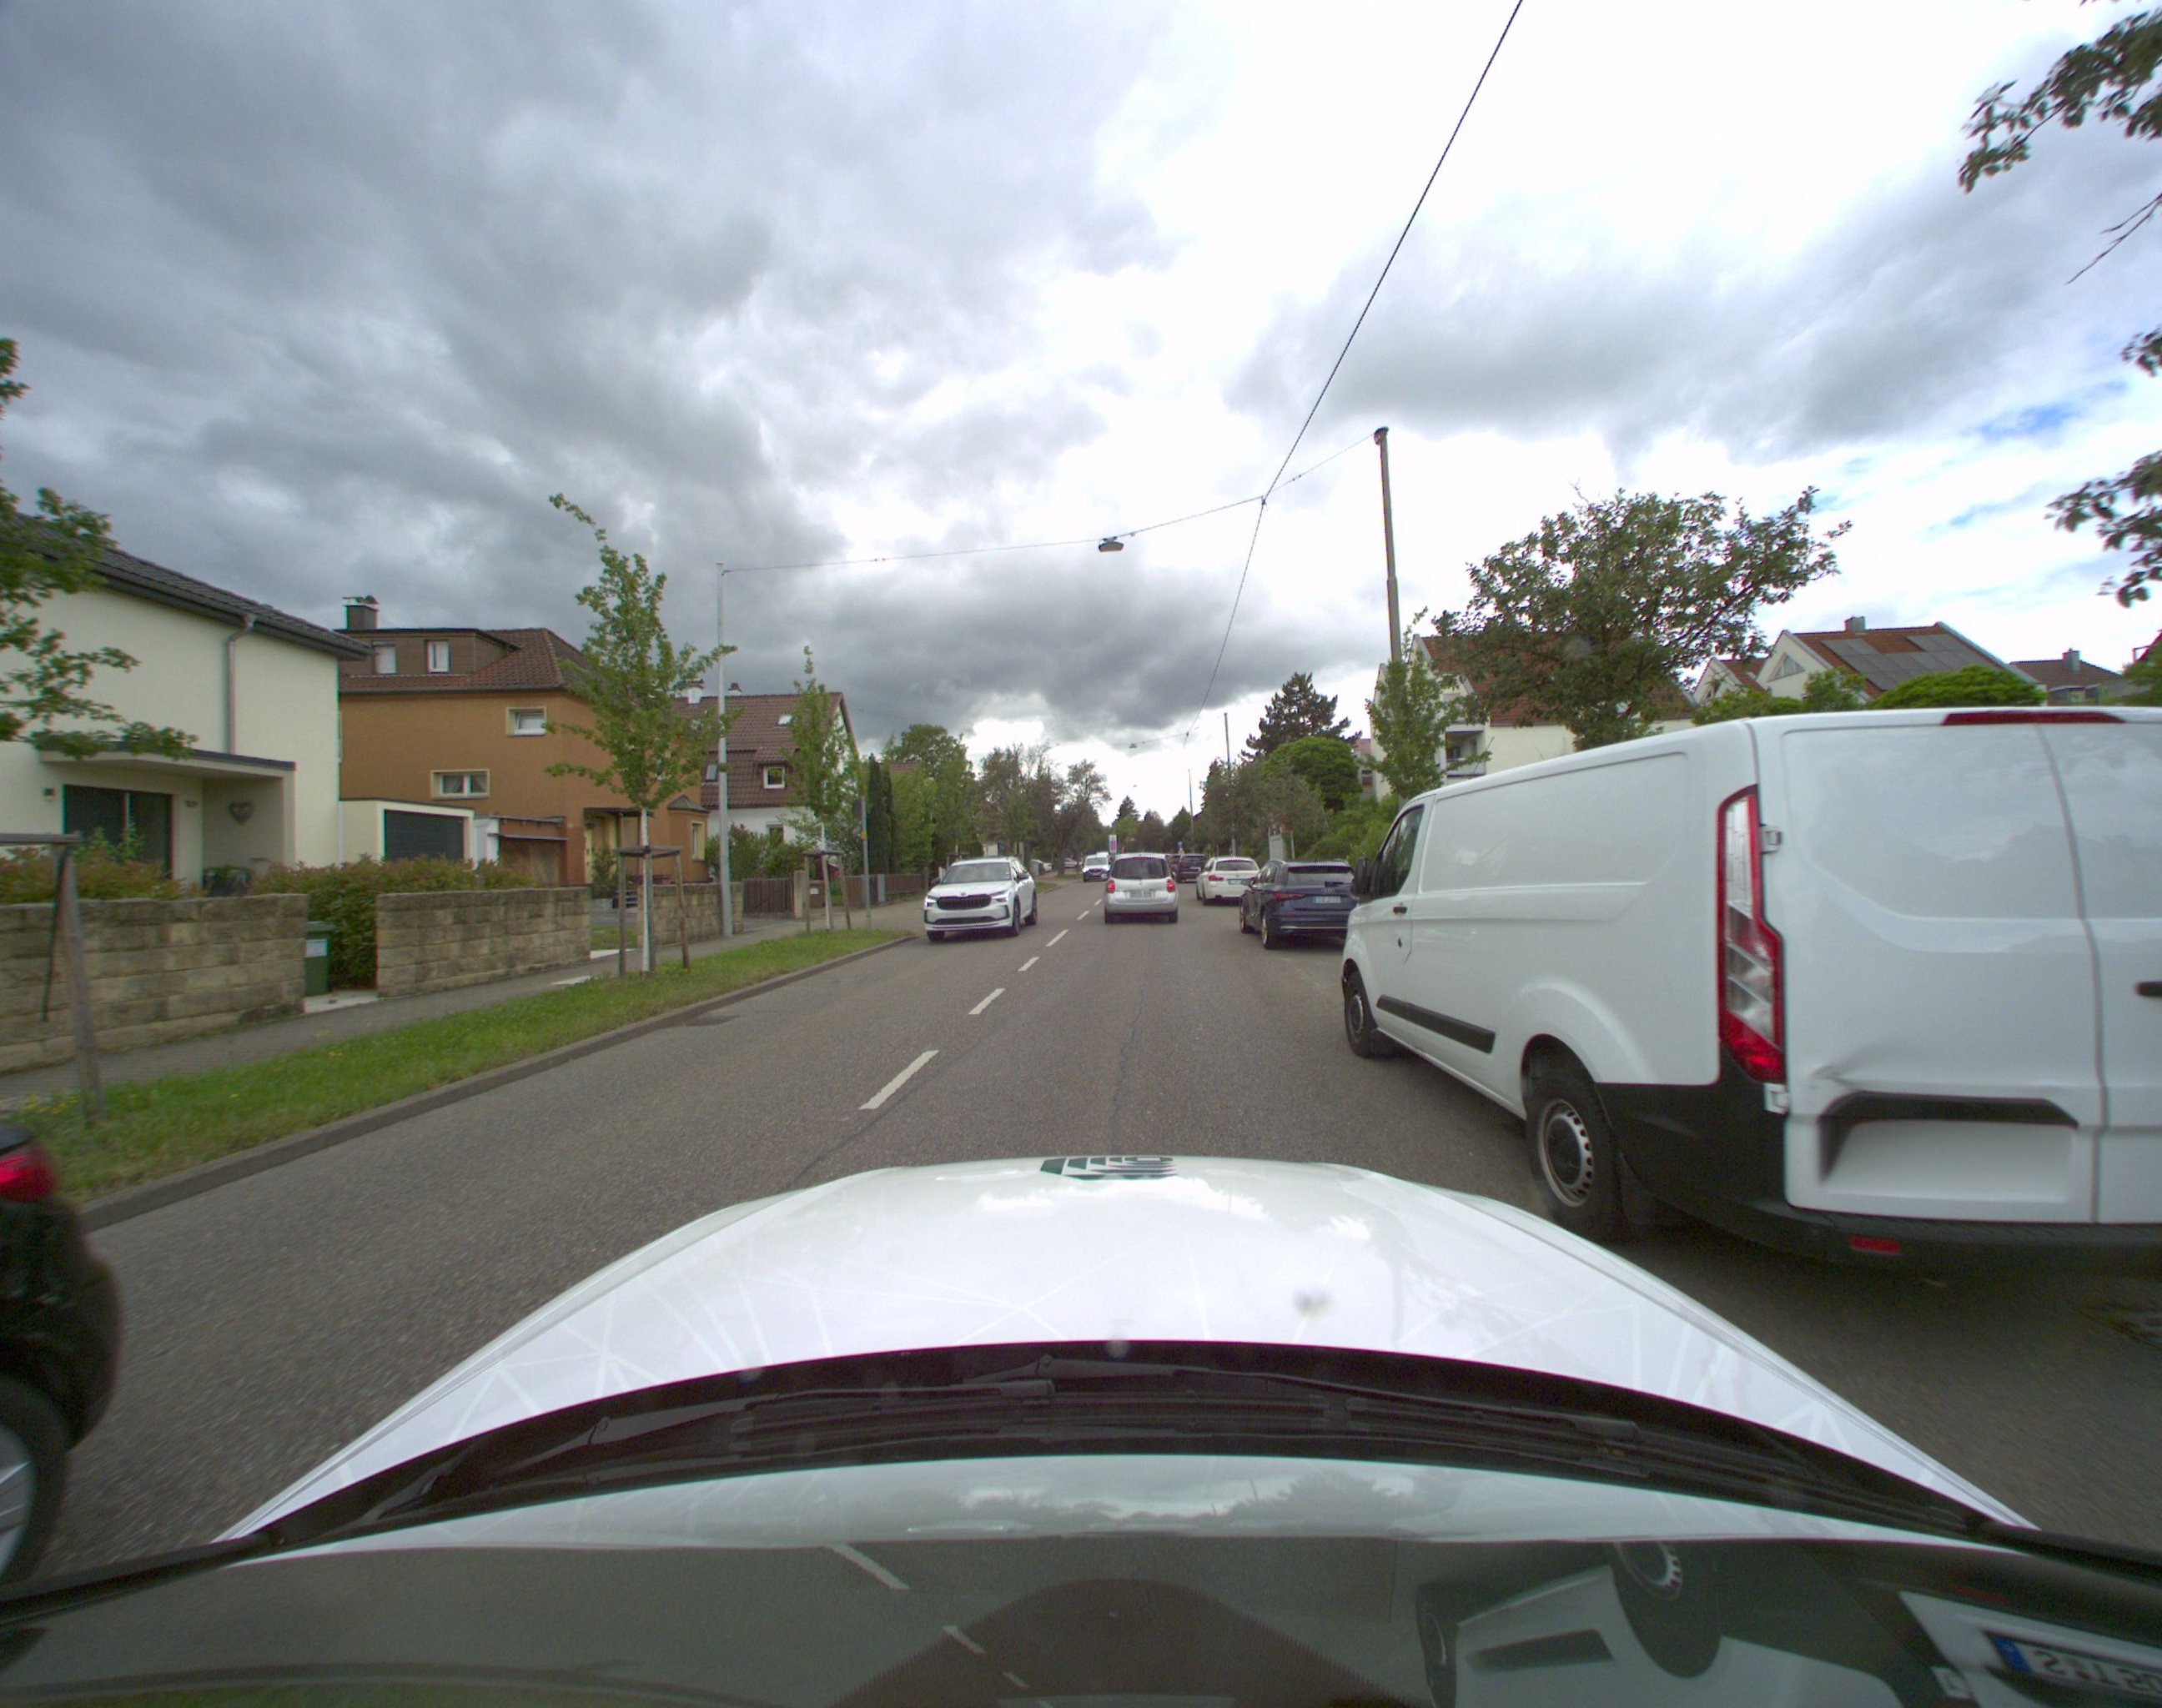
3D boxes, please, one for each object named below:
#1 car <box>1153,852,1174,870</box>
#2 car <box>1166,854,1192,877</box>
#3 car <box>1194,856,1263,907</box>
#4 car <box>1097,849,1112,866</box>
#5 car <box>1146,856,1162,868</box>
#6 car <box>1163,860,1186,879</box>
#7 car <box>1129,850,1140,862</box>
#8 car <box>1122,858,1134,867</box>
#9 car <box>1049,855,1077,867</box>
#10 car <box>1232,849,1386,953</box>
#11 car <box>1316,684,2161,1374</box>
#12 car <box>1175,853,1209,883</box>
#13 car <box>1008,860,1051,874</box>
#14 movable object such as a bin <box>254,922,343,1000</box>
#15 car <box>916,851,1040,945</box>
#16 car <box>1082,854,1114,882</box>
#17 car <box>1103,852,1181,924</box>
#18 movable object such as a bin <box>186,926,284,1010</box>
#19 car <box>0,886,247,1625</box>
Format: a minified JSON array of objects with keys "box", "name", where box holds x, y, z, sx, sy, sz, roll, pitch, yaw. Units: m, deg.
[{"box":[8.805,0.739,87.609,1.793,1.778,4.704,-1,0,0],"name":"car"},{"box":[7.628,0.867,63.961,1.821,1.712,4.554,-1,0,4],"name":"car"},{"box":[4.559,0.796,25.652,1.686,1.453,4.409,0,0,4],"name":"car"},{"box":[3.739,0.530,128.847,2.065,2.582,5.304,-4,0,3],"name":"car"},{"box":[9.224,0.958,102.752,1.622,1.452,3.874,-2,0,-1],"name":"car"},{"box":[6.520,1.046,57.149,1.474,1.236,3.888,0,0,4],"name":"car"},{"box":[12.778,0.437,195.076,2.275,2.911,5.275,-1,-1,-2],"name":"car"},{"box":[8.635,1.610,149.752,1.692,1.506,3.966,-2,0,-4],"name":"car"},{"box":[-2.646,1.019,119.495,4.075,1.706,1.746,-1,-1,-2],"name":"car"},{"box":[3.794,0.705,14.272,1.658,1.516,4.223,-1,0,3],"name":"car"},{"box":[2.820,0.500,4.704,1.767,1.943,4.793,-1,0,3],"name":"car"},{"box":[6.189,0.749,45.717,1.680,1.609,4.114,-1,0,4],"name":"car"},{"box":[-5.115,1.288,81.746,4.268,1.368,1.814,0,-1,-3],"name":"car"},{"box":[-9.892,1.345,10.311,0.611,0.922,0.525,-1,-1,2],"name":"movable object such as a bin"},{"box":[-2.094,0.857,17.862,1.806,1.693,4.470,-4,0,3],"name":"car"},{"box":[1.198,0.893,54.727,1.787,1.752,4.304,-3,0,5],"name":"car"},{"box":[1.460,0.753,19.441,1.672,1.560,3.516,-1,0,4],"name":"car"},{"box":[-10.001,1.341,9.643,0.611,0.922,0.525,-1,-1,2],"name":"movable object such as a bin"},{"box":[-3.118,0.869,0.137,1.609,1.472,4.004,-4,0,3],"name":"car"}]
